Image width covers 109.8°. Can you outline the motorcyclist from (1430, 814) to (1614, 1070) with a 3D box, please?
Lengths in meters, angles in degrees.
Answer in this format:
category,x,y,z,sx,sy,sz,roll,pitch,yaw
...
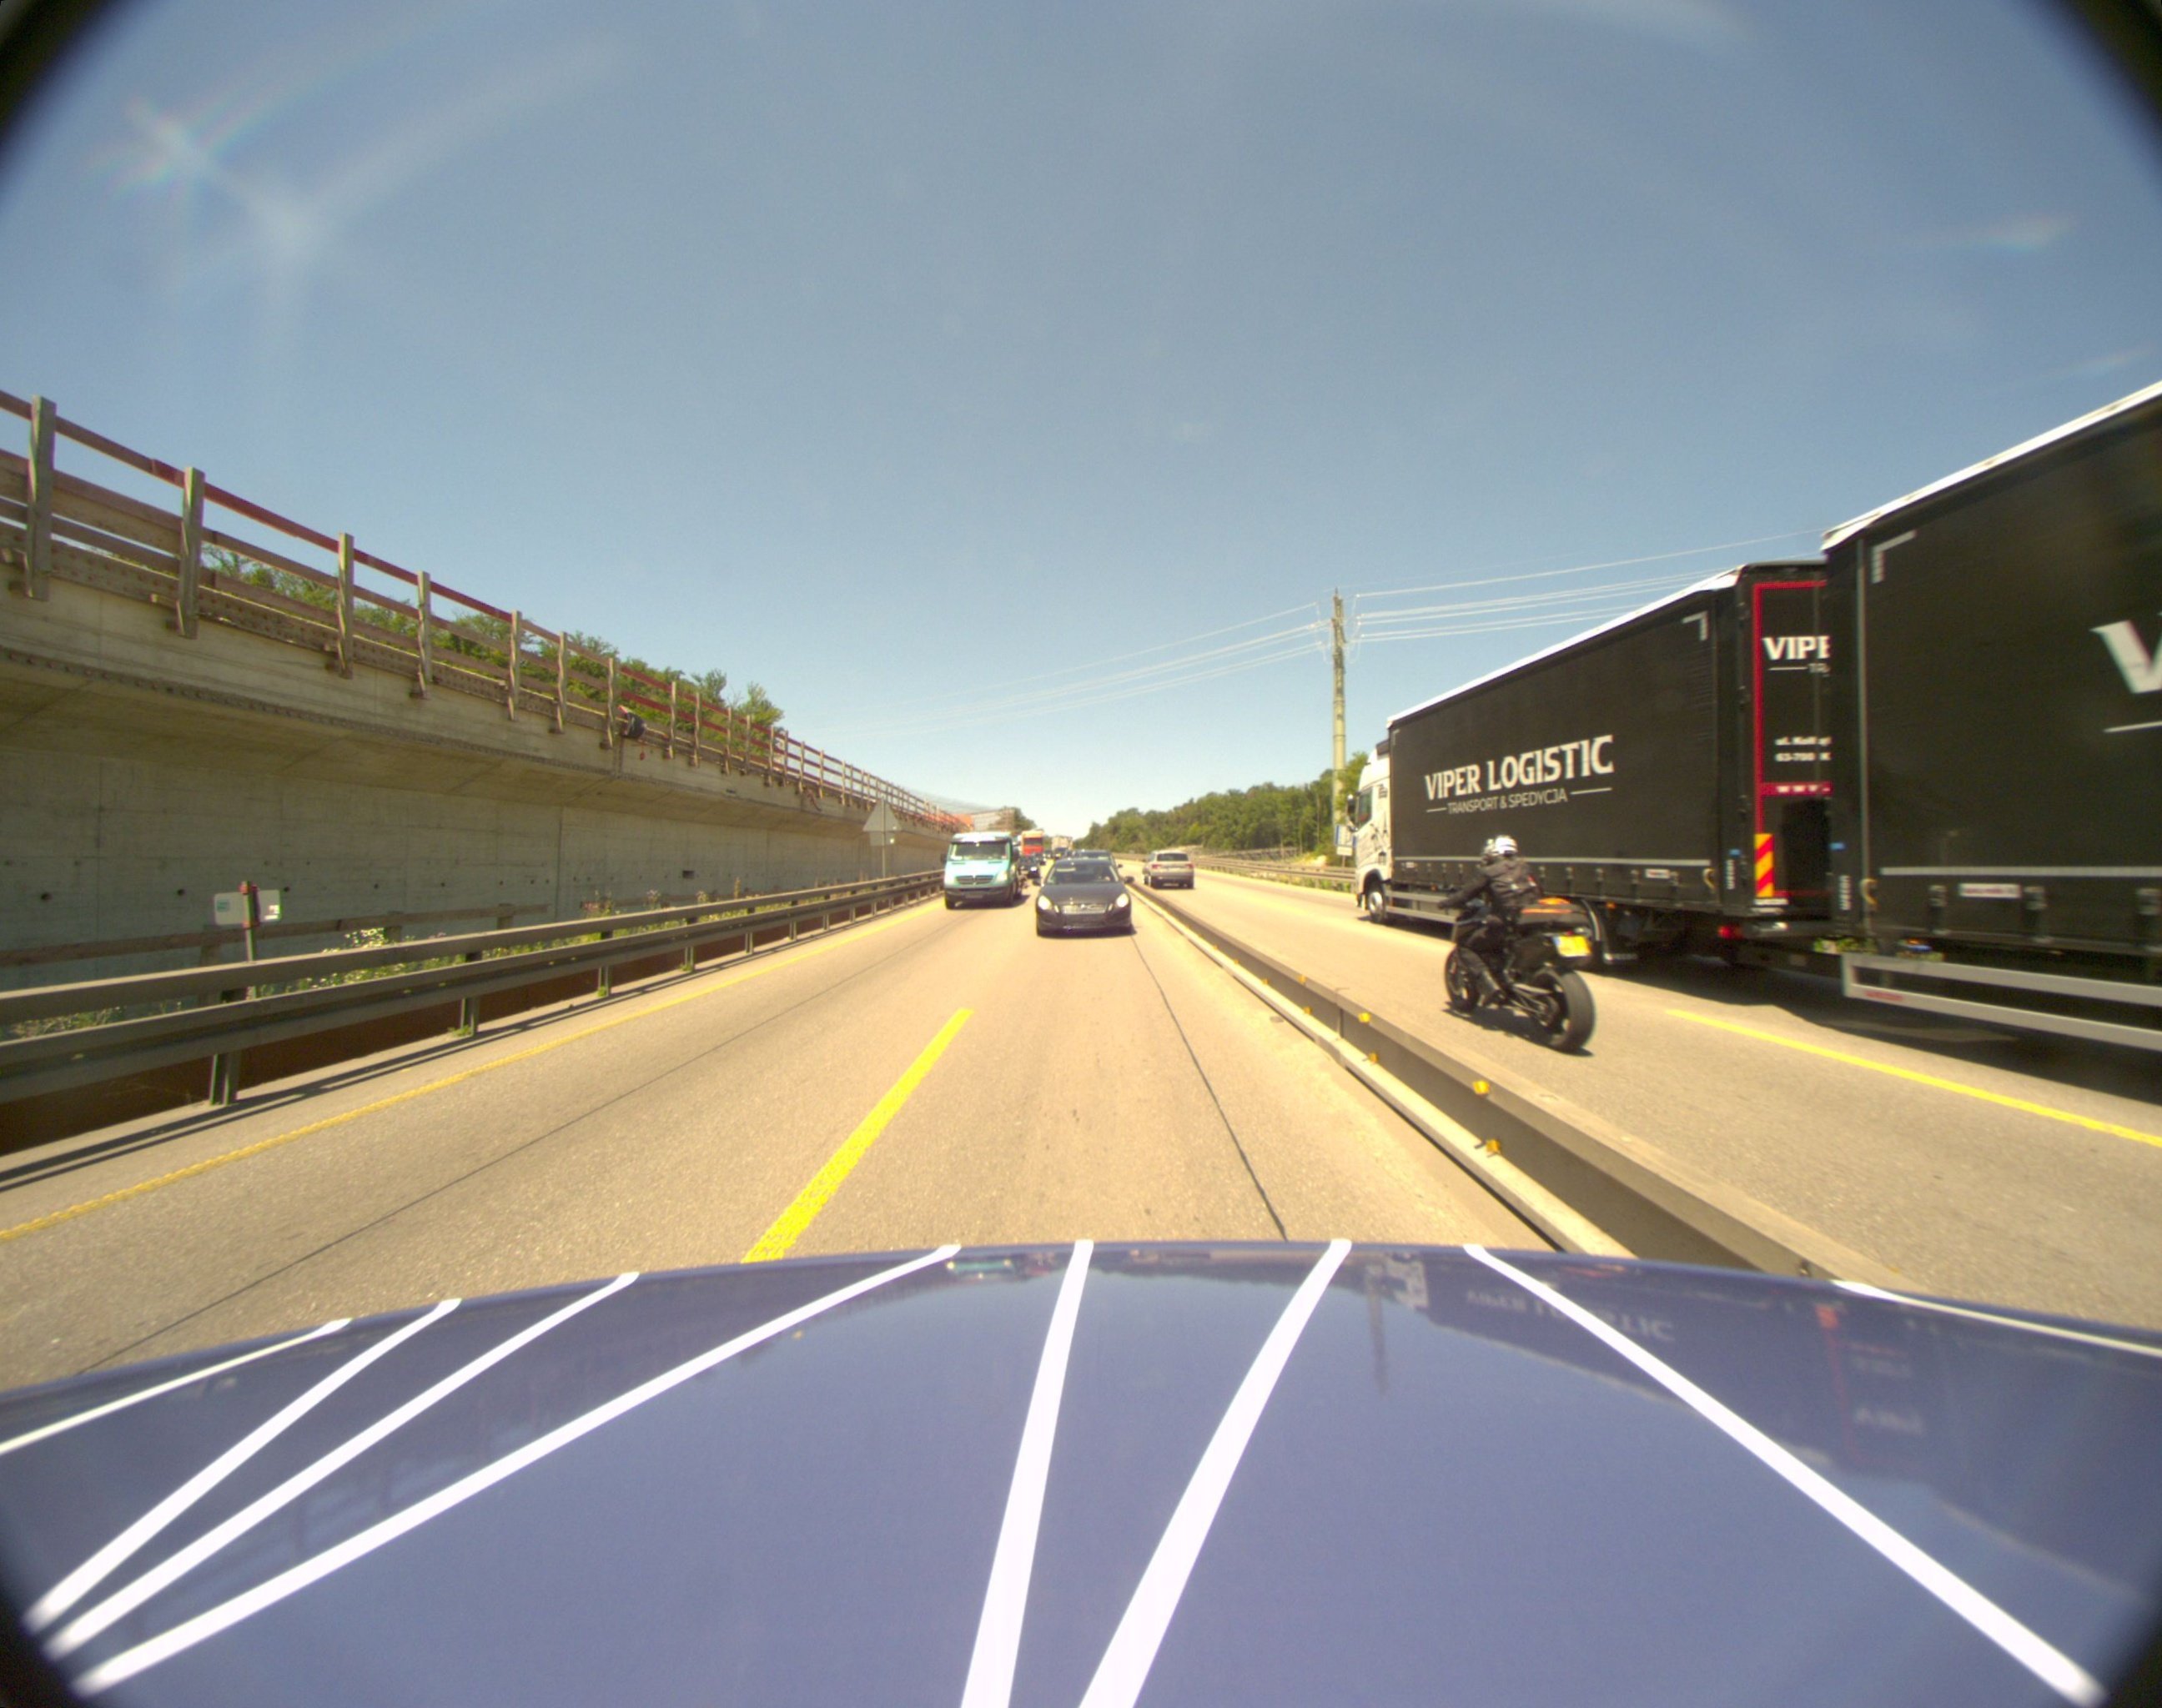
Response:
category,x,y,z,sx,sy,sz,roll,pitch,yaw
motorcyclist,3.453,0.646,6.047,0.855,1.844,0.983,-2,1,1

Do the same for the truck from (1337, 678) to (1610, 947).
category,x,y,z,sx,sy,sz,roll,pitch,yaw
truck,7.186,-0.668,14.777,2.759,4.258,4.957,-2,0,1

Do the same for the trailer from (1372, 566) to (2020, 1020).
category,x,y,z,sx,sy,sz,roll,pitch,yaw
trailer,7.147,-0.530,10.932,2.764,4.046,8.007,-2,0,0

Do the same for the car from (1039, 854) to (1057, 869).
category,x,y,z,sx,sy,sz,roll,pitch,yaw
car,-3.483,0.778,80.676,1.647,1.366,3.344,-2,1,0

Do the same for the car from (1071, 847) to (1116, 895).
category,x,y,z,sx,sy,sz,roll,pitch,yaw
car,0.410,0.552,27.823,1.520,1.543,3.859,-1,1,-1

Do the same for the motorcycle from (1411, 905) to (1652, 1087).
category,x,y,z,sx,sy,sz,roll,pitch,yaw
motorcycle,3.457,1.025,6.082,0.788,1.073,1.912,-2,0,1

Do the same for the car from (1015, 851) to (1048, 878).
category,x,y,z,sx,sy,sz,roll,pitch,yaw
car,-2.936,0.578,45.350,1.739,1.401,3.584,-2,1,-1

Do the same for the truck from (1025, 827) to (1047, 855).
category,x,y,z,sx,sy,sz,roll,pitch,yaw
truck,-6.124,-1.798,101.644,2.472,3.464,9.861,-2,1,-6

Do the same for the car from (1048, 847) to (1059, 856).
category,x,y,z,sx,sy,sz,roll,pitch,yaw
car,-4.258,-0.416,119.688,1.586,1.366,3.344,-2,1,0

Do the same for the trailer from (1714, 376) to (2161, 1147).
category,x,y,z,sx,sy,sz,roll,pitch,yaw
trailer,7.053,-0.520,2.465,2.764,4.046,8.635,-2,0,1

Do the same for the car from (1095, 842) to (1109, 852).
category,x,y,z,sx,sy,sz,roll,pitch,yaw
car,2.997,-1.045,109.405,1.846,1.410,4.685,0,1,0

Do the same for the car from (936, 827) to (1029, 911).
category,x,y,z,sx,sy,sz,roll,pitch,yaw
car,-2.964,0.352,24.592,2.217,2.313,6.899,-1,1,-1

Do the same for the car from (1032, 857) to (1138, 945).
category,x,y,z,sx,sy,sz,roll,pitch,yaw
car,-0.065,0.852,15.857,1.844,1.475,4.560,-1,1,-4

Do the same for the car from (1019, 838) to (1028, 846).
category,x,y,z,sx,sy,sz,roll,pitch,yaw
car,-11.829,-2.518,156.527,1.586,1.666,3.343,-2,1,0

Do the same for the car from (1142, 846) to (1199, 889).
category,x,y,z,sx,sy,sz,roll,pitch,yaw
car,3.670,0.515,31.911,1.864,1.602,4.068,-2,1,0

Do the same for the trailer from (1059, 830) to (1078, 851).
category,x,y,z,sx,sy,sz,roll,pitch,yaw
trailer,-2.808,-2.943,165.959,3.261,4.354,14.049,-2,1,-4

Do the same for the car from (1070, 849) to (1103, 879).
category,x,y,z,sx,sy,sz,roll,pitch,yaw
car,0.292,0.531,43.957,1.736,1.558,3.618,-2,1,-1

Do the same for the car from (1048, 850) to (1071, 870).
category,x,y,z,sx,sy,sz,roll,pitch,yaw
car,-1.663,0.435,59.037,1.647,1.366,3.344,-2,1,0

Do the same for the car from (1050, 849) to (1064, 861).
category,x,y,z,sx,sy,sz,roll,pitch,yaw
car,-2.858,0.101,92.458,1.586,1.366,3.344,-2,1,0
